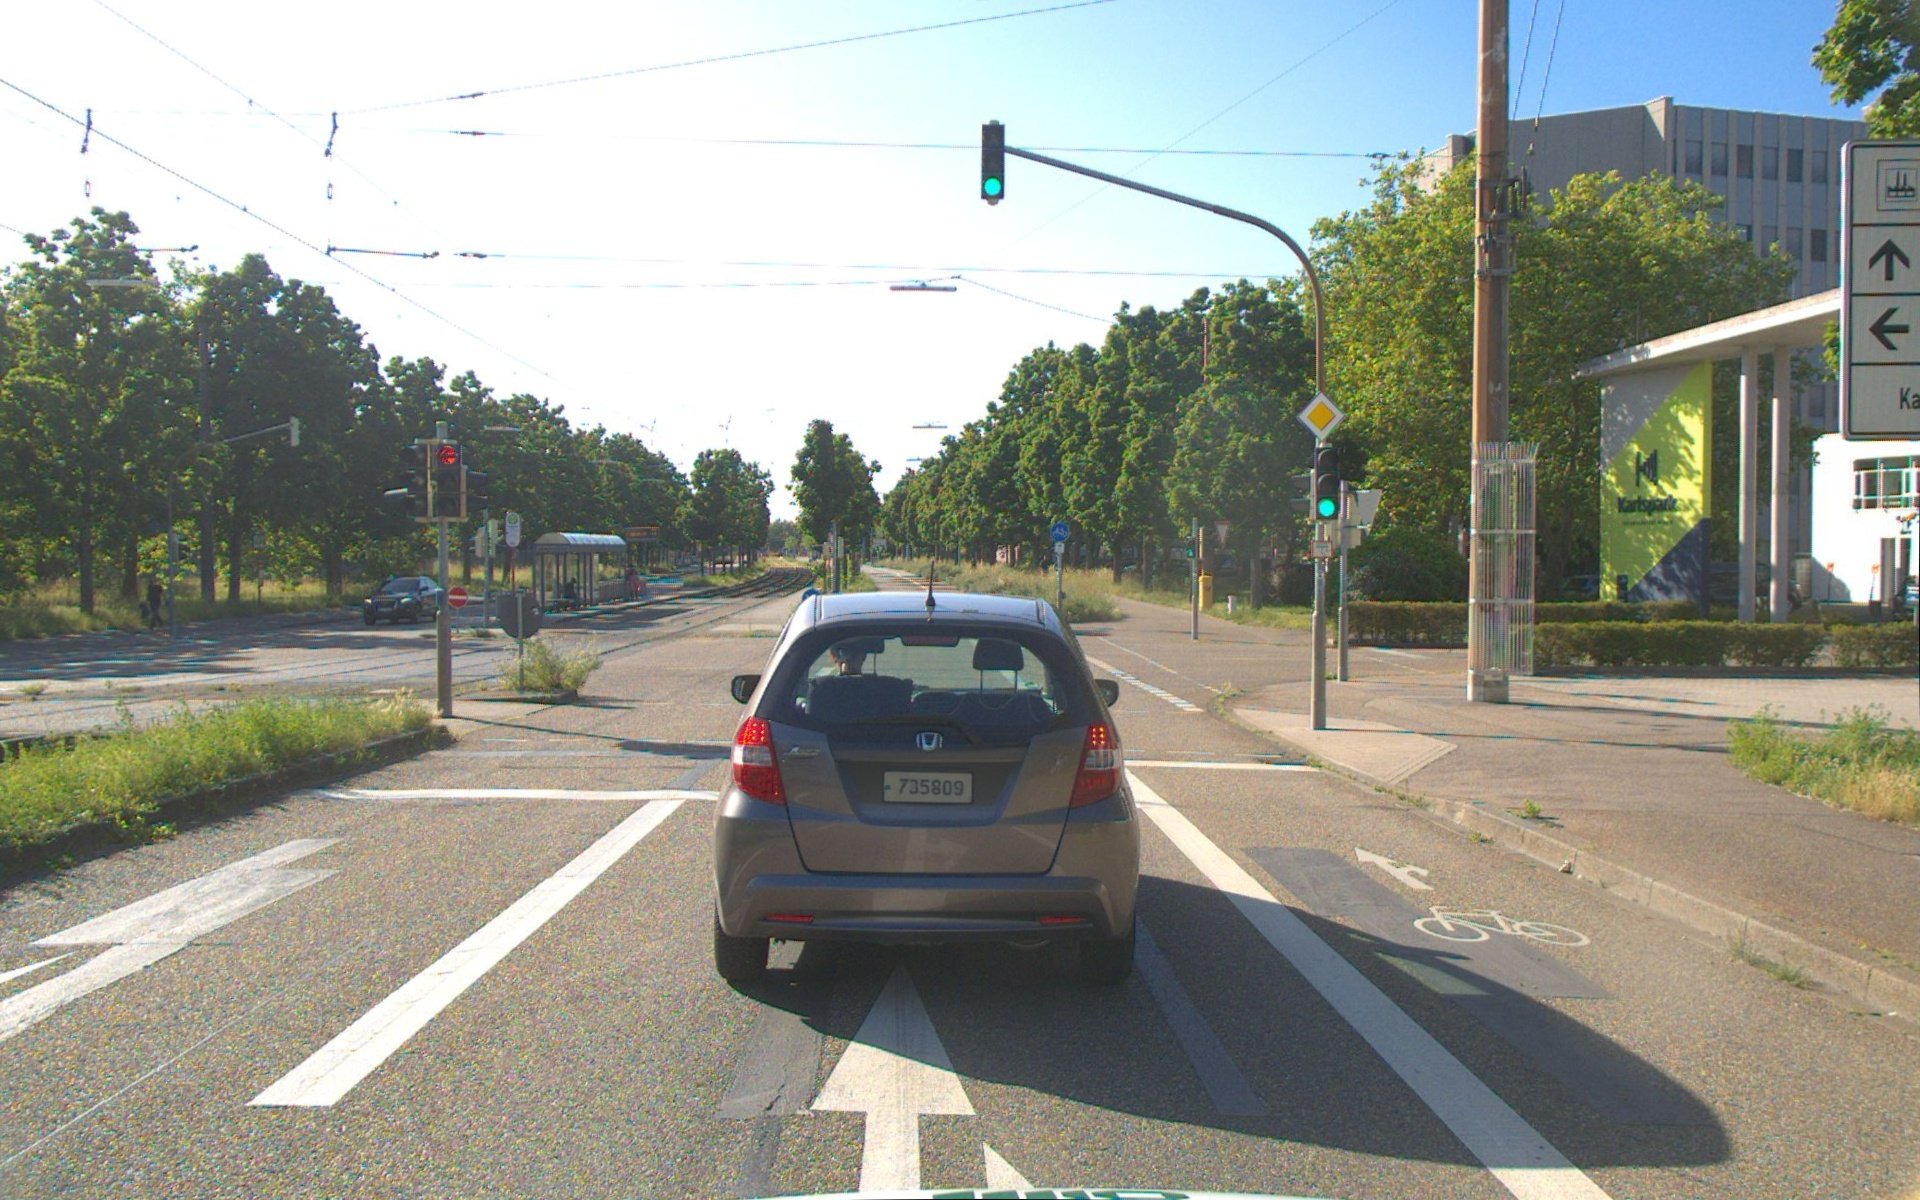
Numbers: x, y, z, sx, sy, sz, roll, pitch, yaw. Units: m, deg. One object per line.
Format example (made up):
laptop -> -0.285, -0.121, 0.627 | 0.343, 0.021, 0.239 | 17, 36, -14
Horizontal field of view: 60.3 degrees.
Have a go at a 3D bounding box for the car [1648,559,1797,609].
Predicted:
car -> 28.002, -0.611, 60.767 | 4.803, 1.787, 2.083 | 0, 1, -16

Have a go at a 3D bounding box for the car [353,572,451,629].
car -> -20.164, -0.021, 59.976 | 2.052, 1.841, 4.791 | -2, 2, -3

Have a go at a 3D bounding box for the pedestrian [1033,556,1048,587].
pedestrian -> 5.038, -1.771, 103.641 | 0.865, 1.917, 0.875 | 0, 1, -5

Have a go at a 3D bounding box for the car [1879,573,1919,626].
car -> 30.634, -0.019, 50.739 | 3.914, 1.605, 1.950 | 0, 1, -10

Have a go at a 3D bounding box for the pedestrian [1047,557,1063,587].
pedestrian -> 5.937, -1.756, 103.718 | 0.865, 1.917, 0.875 | 0, 1, -5

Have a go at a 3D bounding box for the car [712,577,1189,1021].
car -> -0.059, 0.699, 7.682 | 1.666, 1.550, 3.709 | 1, 0, -1

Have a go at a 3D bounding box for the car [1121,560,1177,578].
car -> 16.512, -2.730, 144.812 | 4.543, 1.582, 1.997 | -1, 1, -7

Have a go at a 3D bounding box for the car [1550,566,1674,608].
car -> 26.637, -0.544, 67.608 | 4.371, 1.715, 1.892 | 0, 1, -7

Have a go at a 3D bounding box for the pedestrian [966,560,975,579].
pedestrian -> 0.936, -2.693, 145.574 | 0.710, 1.720, 0.820 | 0, 0, -3

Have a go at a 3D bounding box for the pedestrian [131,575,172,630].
pedestrian -> -26.646, 0.076, 54.492 | 0.744, 1.764, 0.936 | 0, 1, 27

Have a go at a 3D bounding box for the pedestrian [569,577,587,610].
pedestrian -> -15.093, -0.260, 65.305 | 0.552, 1.279, 0.580 | -2, 0, -2

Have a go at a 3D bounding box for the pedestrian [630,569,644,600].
pedestrian -> -15.583, -0.759, 79.859 | 0.533, 1.473, 0.559 | -1, 0, -1
